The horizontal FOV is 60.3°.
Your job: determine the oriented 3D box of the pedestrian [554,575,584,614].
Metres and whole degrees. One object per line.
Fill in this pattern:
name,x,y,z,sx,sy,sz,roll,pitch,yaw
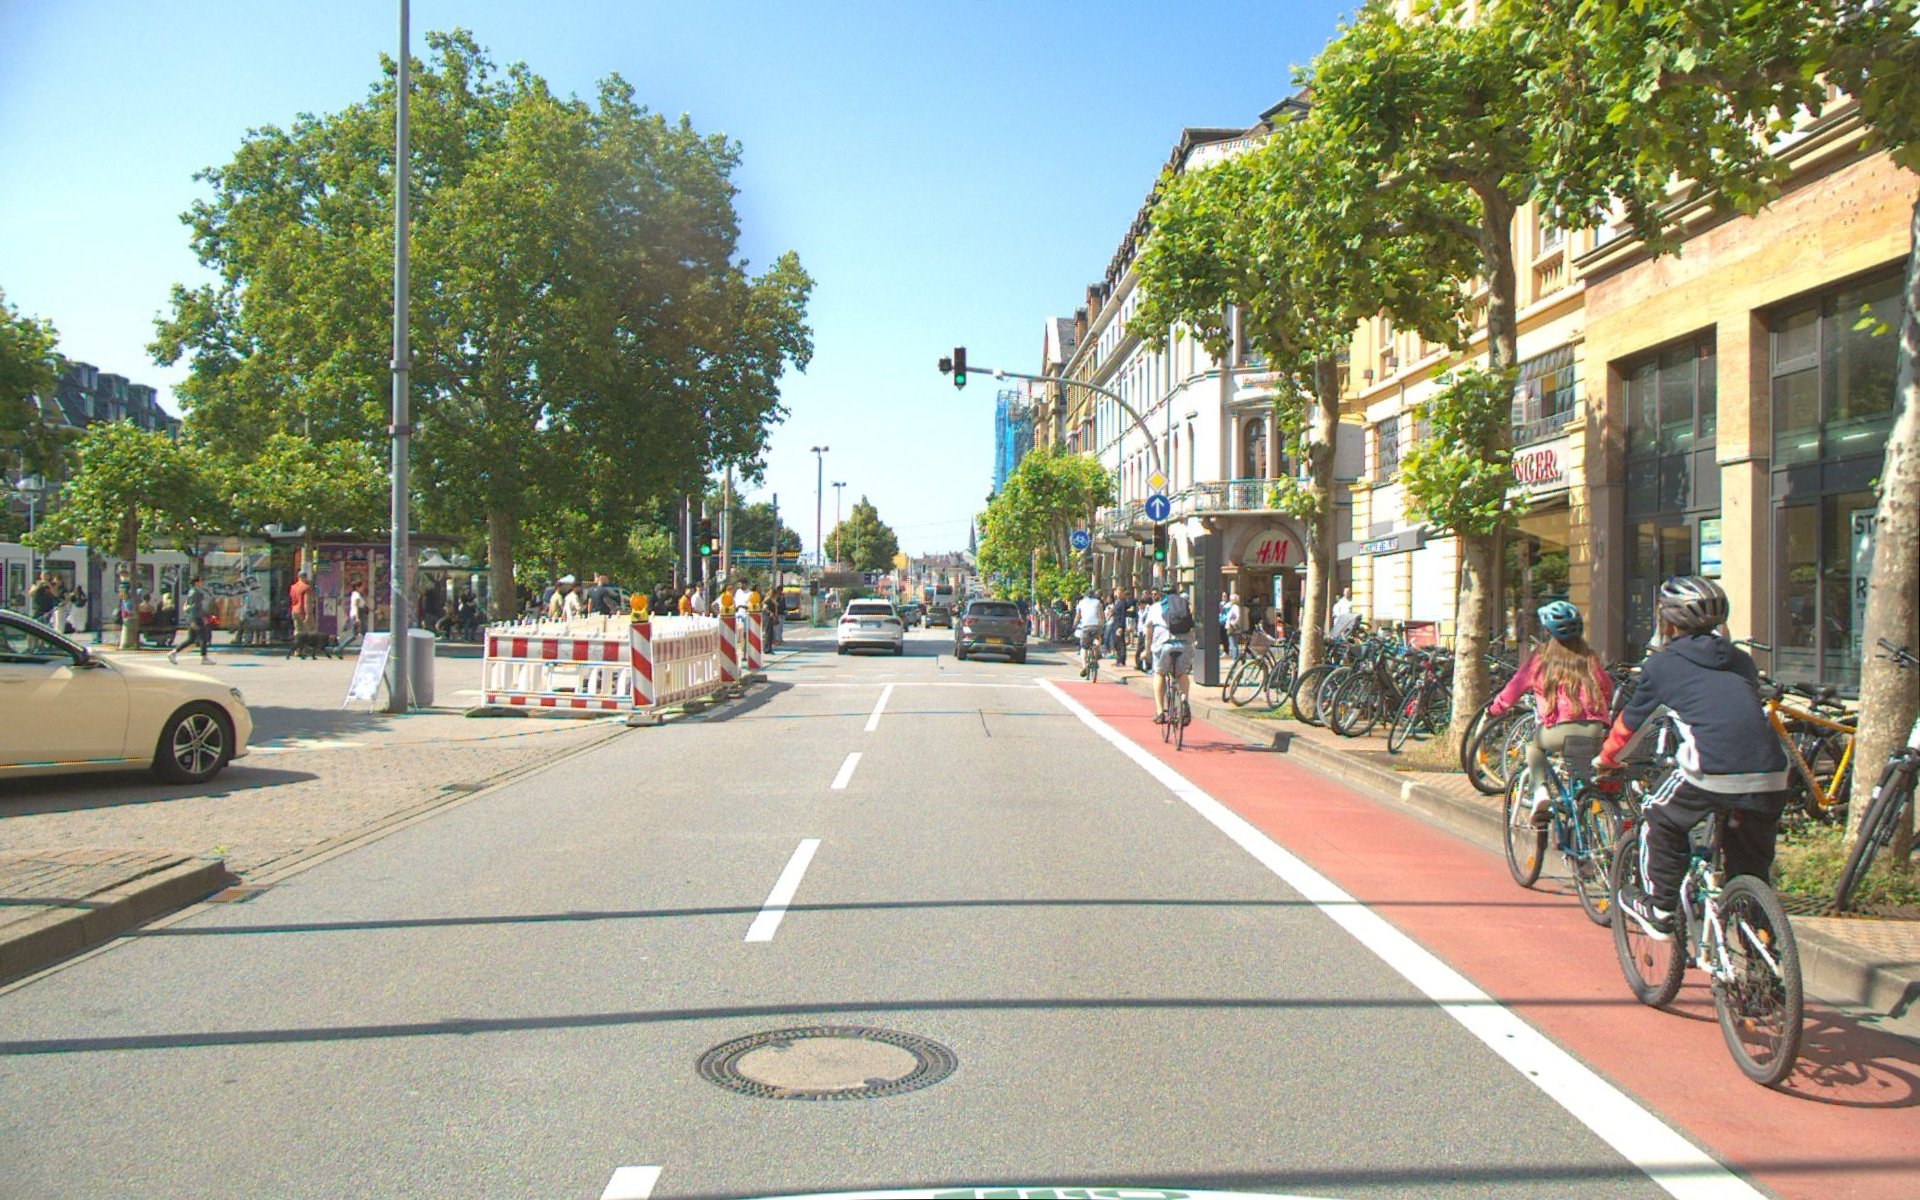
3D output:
pedestrian,-11.749,-0.151,49.687,0.619,1.164,0.665,0,-1,20

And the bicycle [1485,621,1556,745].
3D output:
bicycle,5.838,0.833,17.286,0.462,1.208,1.656,1,0,11

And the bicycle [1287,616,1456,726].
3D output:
bicycle,4.755,0.817,19.185,1.805,1.222,0.608,1,0,1

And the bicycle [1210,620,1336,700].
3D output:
bicycle,4.623,0.880,24.476,1.746,1.142,0.562,0,0,-4

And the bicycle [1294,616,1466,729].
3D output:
bicycle,4.727,0.811,18.679,1.805,1.222,0.545,1,0,1

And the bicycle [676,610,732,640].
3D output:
bicycle,-9.608,0.927,61.988,2.045,1.109,0.682,0,-1,-13

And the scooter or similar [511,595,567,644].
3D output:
scooter or similar,-12.783,0.587,50.217,1.252,1.445,1.037,0,-1,29

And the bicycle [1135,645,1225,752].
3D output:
bicycle,2.312,1.014,17.614,0.617,0.997,2.088,0,0,-2

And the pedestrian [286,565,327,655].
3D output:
pedestrian,-14.044,0.214,35.542,0.656,1.912,0.624,2,-1,-34

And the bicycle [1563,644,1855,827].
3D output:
bicycle,4.842,0.865,10.734,1.692,1.128,0.402,1,0,1

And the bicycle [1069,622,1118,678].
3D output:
bicycle,2.610,0.970,32.533,0.758,1.023,2.329,0,0,-1

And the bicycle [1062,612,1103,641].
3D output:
bicycle,4.317,0.918,58.152,1.391,0.997,0.445,-1,1,-1

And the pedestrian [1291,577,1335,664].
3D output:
pedestrian,7.545,0.452,35.402,0.644,1.821,1.232,0,-2,-1

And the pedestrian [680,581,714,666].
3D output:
pedestrian,-5.658,0.508,35.626,0.528,1.811,0.606,2,-1,5

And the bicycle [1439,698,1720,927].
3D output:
bicycle,3.142,1.034,8.619,0.588,0.942,2.086,1,-1,-3

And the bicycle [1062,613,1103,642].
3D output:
bicycle,4.236,0.952,57.328,1.391,0.997,0.445,-1,1,-1

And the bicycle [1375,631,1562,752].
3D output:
bicycle,4.882,0.871,15.940,1.615,1.114,0.607,1,0,1

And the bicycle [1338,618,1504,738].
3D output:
bicycle,4.853,0.813,17.462,1.615,1.222,0.474,1,0,1

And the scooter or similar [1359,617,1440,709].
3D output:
scooter or similar,5.941,0.837,22.403,0.414,1.198,1.224,1,0,-21

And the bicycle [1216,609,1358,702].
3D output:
bicycle,4.660,0.788,23.597,1.904,1.279,0.701,1,0,-21

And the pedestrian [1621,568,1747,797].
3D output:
pedestrian,5.371,0.596,12.298,0.602,1.640,0.745,1,0,0

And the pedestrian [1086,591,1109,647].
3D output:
pedestrian,4.284,0.599,51.488,0.571,1.703,0.605,-3,-1,-3

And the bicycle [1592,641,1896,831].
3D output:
bicycle,4.873,0.836,10.321,1.692,1.128,0.402,1,0,1

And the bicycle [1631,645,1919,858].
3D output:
bicycle,4.836,0.846,9.468,1.692,1.128,0.736,1,0,1

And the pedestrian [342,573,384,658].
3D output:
pedestrian,-12.532,0.323,34.724,0.564,1.769,0.606,2,-1,5

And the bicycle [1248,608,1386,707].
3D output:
bicycle,4.972,0.785,23.005,1.795,1.332,0.684,1,0,-21

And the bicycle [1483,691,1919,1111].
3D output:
bicycle,2.663,0.971,6.041,0.684,1.146,2.079,2,0,-4

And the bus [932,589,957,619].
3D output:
bus,-2.077,0.574,212.355,2.934,3.657,11.740,1,-1,-2

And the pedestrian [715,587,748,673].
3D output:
pedestrian,-4.795,0.628,34.674,0.425,1.770,0.599,2,-1,-32

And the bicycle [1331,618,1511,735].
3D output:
bicycle,4.972,0.816,17.878,1.805,1.222,0.474,1,0,1

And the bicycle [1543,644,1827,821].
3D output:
bicycle,4.870,0.882,11.154,1.692,1.128,0.477,1,0,1

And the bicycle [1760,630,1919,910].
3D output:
bicycle,4.991,0.802,7.989,1.891,1.270,0.736,1,0,1

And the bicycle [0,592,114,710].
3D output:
bicycle,-11.496,0.610,20.335,1.746,1.371,0.740,2,0,-4

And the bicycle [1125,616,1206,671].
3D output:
bicycle,4.270,0.896,34.458,0.595,1.101,1.816,-2,0,-35

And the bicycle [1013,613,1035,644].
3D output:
bicycle,2.159,0.957,56.063,0.634,1.015,2.030,1,0,-1

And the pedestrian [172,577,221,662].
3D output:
pedestrian,-14.338,0.371,31.069,0.564,1.559,0.606,2,-1,5

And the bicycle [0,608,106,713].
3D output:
bicycle,-11.190,0.700,19.617,1.746,1.206,0.662,1,0,-4

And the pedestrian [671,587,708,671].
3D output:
pedestrian,-5.715,0.601,34.918,0.534,1.748,0.599,2,-1,-32

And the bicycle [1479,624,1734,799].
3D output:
bicycle,4.765,0.814,12.238,1.692,1.238,0.477,1,0,1

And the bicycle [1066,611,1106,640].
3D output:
bicycle,4.459,0.918,58.615,1.391,0.997,0.445,-1,1,-1

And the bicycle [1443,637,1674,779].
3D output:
bicycle,4.949,0.880,13.729,1.692,1.114,0.607,1,0,1

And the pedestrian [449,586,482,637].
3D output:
pedestrian,-14.877,0.347,49.794,0.619,1.504,0.731,0,-1,20

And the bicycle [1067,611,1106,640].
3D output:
bicycle,4.579,0.921,60.001,1.391,0.997,0.401,-1,1,-1

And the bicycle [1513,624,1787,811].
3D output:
bicycle,4.783,0.804,11.514,1.692,1.238,0.477,1,0,1

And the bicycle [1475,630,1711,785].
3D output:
bicycle,5.039,0.850,13.220,1.692,1.182,0.477,1,0,1

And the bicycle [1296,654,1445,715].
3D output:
bicycle,5.242,1.070,21.107,1.818,0.728,0.655,1,0,-22

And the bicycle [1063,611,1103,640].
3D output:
bicycle,4.432,0.921,59.563,1.391,0.997,0.445,-1,1,-1

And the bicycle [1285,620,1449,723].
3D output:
bicycle,4.861,0.843,19.818,1.805,1.184,0.659,1,0,1

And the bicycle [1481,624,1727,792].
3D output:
bicycle,4.939,0.820,12.732,1.692,1.238,0.477,1,0,1
